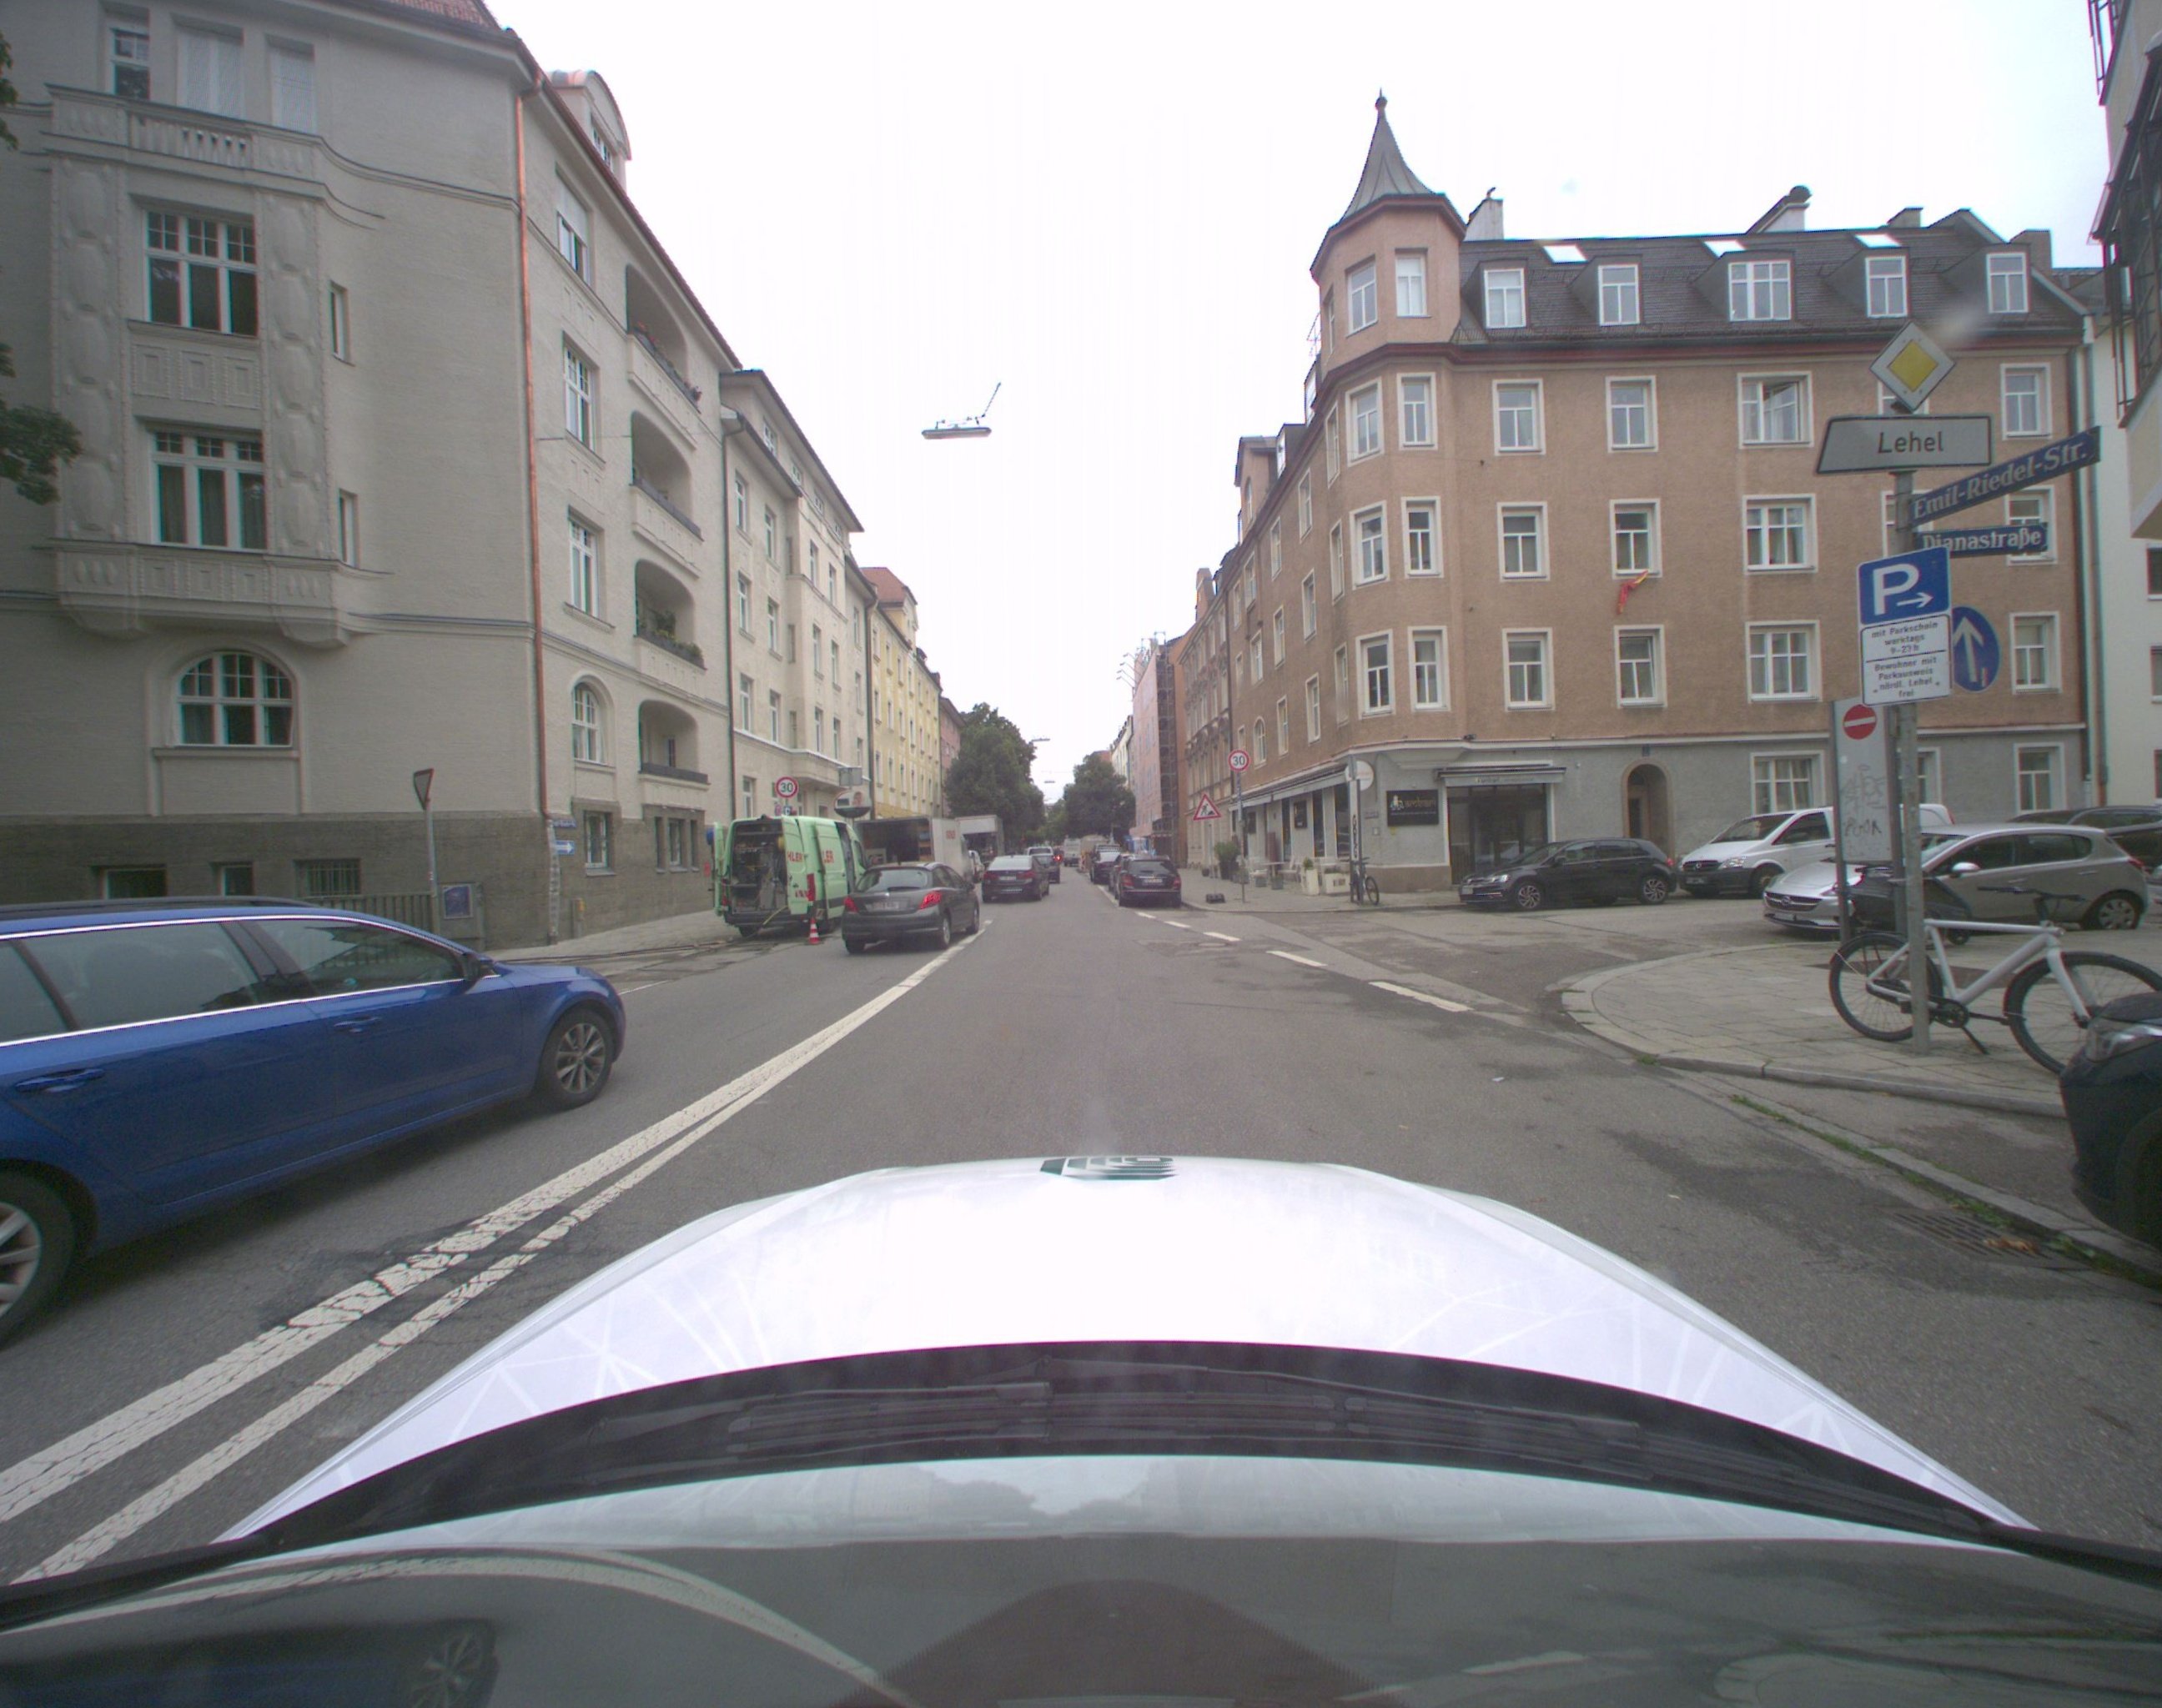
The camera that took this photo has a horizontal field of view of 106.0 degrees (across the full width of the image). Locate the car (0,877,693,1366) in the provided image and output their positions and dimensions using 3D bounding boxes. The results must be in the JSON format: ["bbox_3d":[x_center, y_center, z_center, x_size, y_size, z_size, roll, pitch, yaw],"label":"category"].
[{"bbox_3d":[-4.237,0.923,3.907,1.976,1.454,4.744,-2,-1,7],"label":"car"}]

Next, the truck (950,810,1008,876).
[{"bbox_3d":[-6.442,-0.668,52.590,3.005,3.951,6.990,-2,0,-2],"label":"truck"}]

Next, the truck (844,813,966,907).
[{"bbox_3d":[-6.050,0.114,29.315,2.765,2.873,7.200,-2,1,0],"label":"truck"}]

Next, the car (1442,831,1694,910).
[{"bbox_3d":[10.159,0.356,17.241,4.157,1.429,1.924,-2,-2,-1],"label":"car"}]

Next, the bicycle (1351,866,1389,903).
[{"bbox_3d":[6.854,0.704,19.358,0.455,0.805,1.327,-1,0,2],"label":"bicycle"}]

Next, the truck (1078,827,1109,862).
[{"bbox_3d":[1.094,-0.826,72.517,2.485,2.973,5.325,-2,0,-1],"label":"truck"}]

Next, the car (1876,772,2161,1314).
[{"bbox_3d":[4.189,0.537,1.095,1.812,1.679,4.511,-3,0,1],"label":"car"}]

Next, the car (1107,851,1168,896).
[{"bbox_3d":[1.995,0.664,29.921,1.839,1.429,4.137,1,1,-2],"label":"car"}]

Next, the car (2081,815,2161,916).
[{"bbox_3d":[16.924,0.104,11.353,3.793,1.377,1.747,-2,2,1],"label":"car"}]

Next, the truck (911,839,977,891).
[{"bbox_3d":[-6.209,0.466,37.463,2.280,2.171,4.804,-2,0,-1],"label":"truck"}]

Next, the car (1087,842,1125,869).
[{"bbox_3d":[1.386,0.049,46.515,1.984,1.429,4.140,-2,1,0],"label":"car"}]

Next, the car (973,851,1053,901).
[{"bbox_3d":[-2.124,0.648,26.869,1.982,1.429,4.910,0,1,3],"label":"car"}]

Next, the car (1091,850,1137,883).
[{"bbox_3d":[1.501,0.559,38.736,1.839,1.429,4.303,1,1,-2],"label":"car"}]

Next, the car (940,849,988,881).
[{"bbox_3d":[-6.396,0.574,44.932,1.984,1.610,4.140,-2,0,0],"label":"car"}]

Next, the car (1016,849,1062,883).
[{"bbox_3d":[-1.998,0.549,40.127,1.984,1.429,4.140,-2,1,0],"label":"car"}]

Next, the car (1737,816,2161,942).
[{"bbox_3d":[11.710,0.289,11.161,4.022,1.456,1.747,-2,2,1],"label":"car"}]

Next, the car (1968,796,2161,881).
[{"bbox_3d":[22.795,-0.333,17.766,4.594,1.687,2.099,-2,-2,-1],"label":"car"}]

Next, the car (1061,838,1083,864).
[{"bbox_3d":[-0.850,-0.289,79.491,1.933,2.480,4.783,-2,0,1],"label":"car"}]

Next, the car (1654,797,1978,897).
[{"bbox_3d":[15.748,-0.120,17.677,5.112,1.854,2.099,-2,-2,-1],"label":"car"}]

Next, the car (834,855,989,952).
[{"bbox_3d":[-2.916,0.786,14.914,1.751,1.461,4.077,-2,0,3],"label":"car"}]

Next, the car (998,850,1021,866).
[{"bbox_3d":[-6.924,0.378,79.316,1.934,1.448,3.864,-2,0,-1],"label":"car"}]

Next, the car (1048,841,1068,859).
[{"bbox_3d":[-2.528,-0.424,89.535,1.986,1.904,4.001,-1,0,1],"label":"car"}]

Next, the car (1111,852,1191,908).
[{"bbox_3d":[1.944,0.691,23.900,1.839,1.429,4.181,1,1,-2],"label":"car"}]

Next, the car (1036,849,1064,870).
[{"bbox_3d":[-2.369,0.419,62.942,1.984,1.429,4.140,-2,1,0],"label":"car"}]

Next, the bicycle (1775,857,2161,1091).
[{"bbox_3d":[5.599,0.638,5.290,0.512,1.208,1.996,-1,0,2],"label":"bicycle"}]

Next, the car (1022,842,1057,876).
[{"bbox_3d":[-2.685,0.284,53.231,1.984,2.075,4.140,-2,1,0],"label":"car"}]

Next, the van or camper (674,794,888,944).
[{"bbox_3d":[-6.610,0.234,19.041,2.592,2.840,6.185,-2,1,0],"label":"van or camper"}]

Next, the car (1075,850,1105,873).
[{"bbox_3d":[0.599,0.507,56.182,1.984,1.429,4.140,-2,1,0],"label":"car"}]
